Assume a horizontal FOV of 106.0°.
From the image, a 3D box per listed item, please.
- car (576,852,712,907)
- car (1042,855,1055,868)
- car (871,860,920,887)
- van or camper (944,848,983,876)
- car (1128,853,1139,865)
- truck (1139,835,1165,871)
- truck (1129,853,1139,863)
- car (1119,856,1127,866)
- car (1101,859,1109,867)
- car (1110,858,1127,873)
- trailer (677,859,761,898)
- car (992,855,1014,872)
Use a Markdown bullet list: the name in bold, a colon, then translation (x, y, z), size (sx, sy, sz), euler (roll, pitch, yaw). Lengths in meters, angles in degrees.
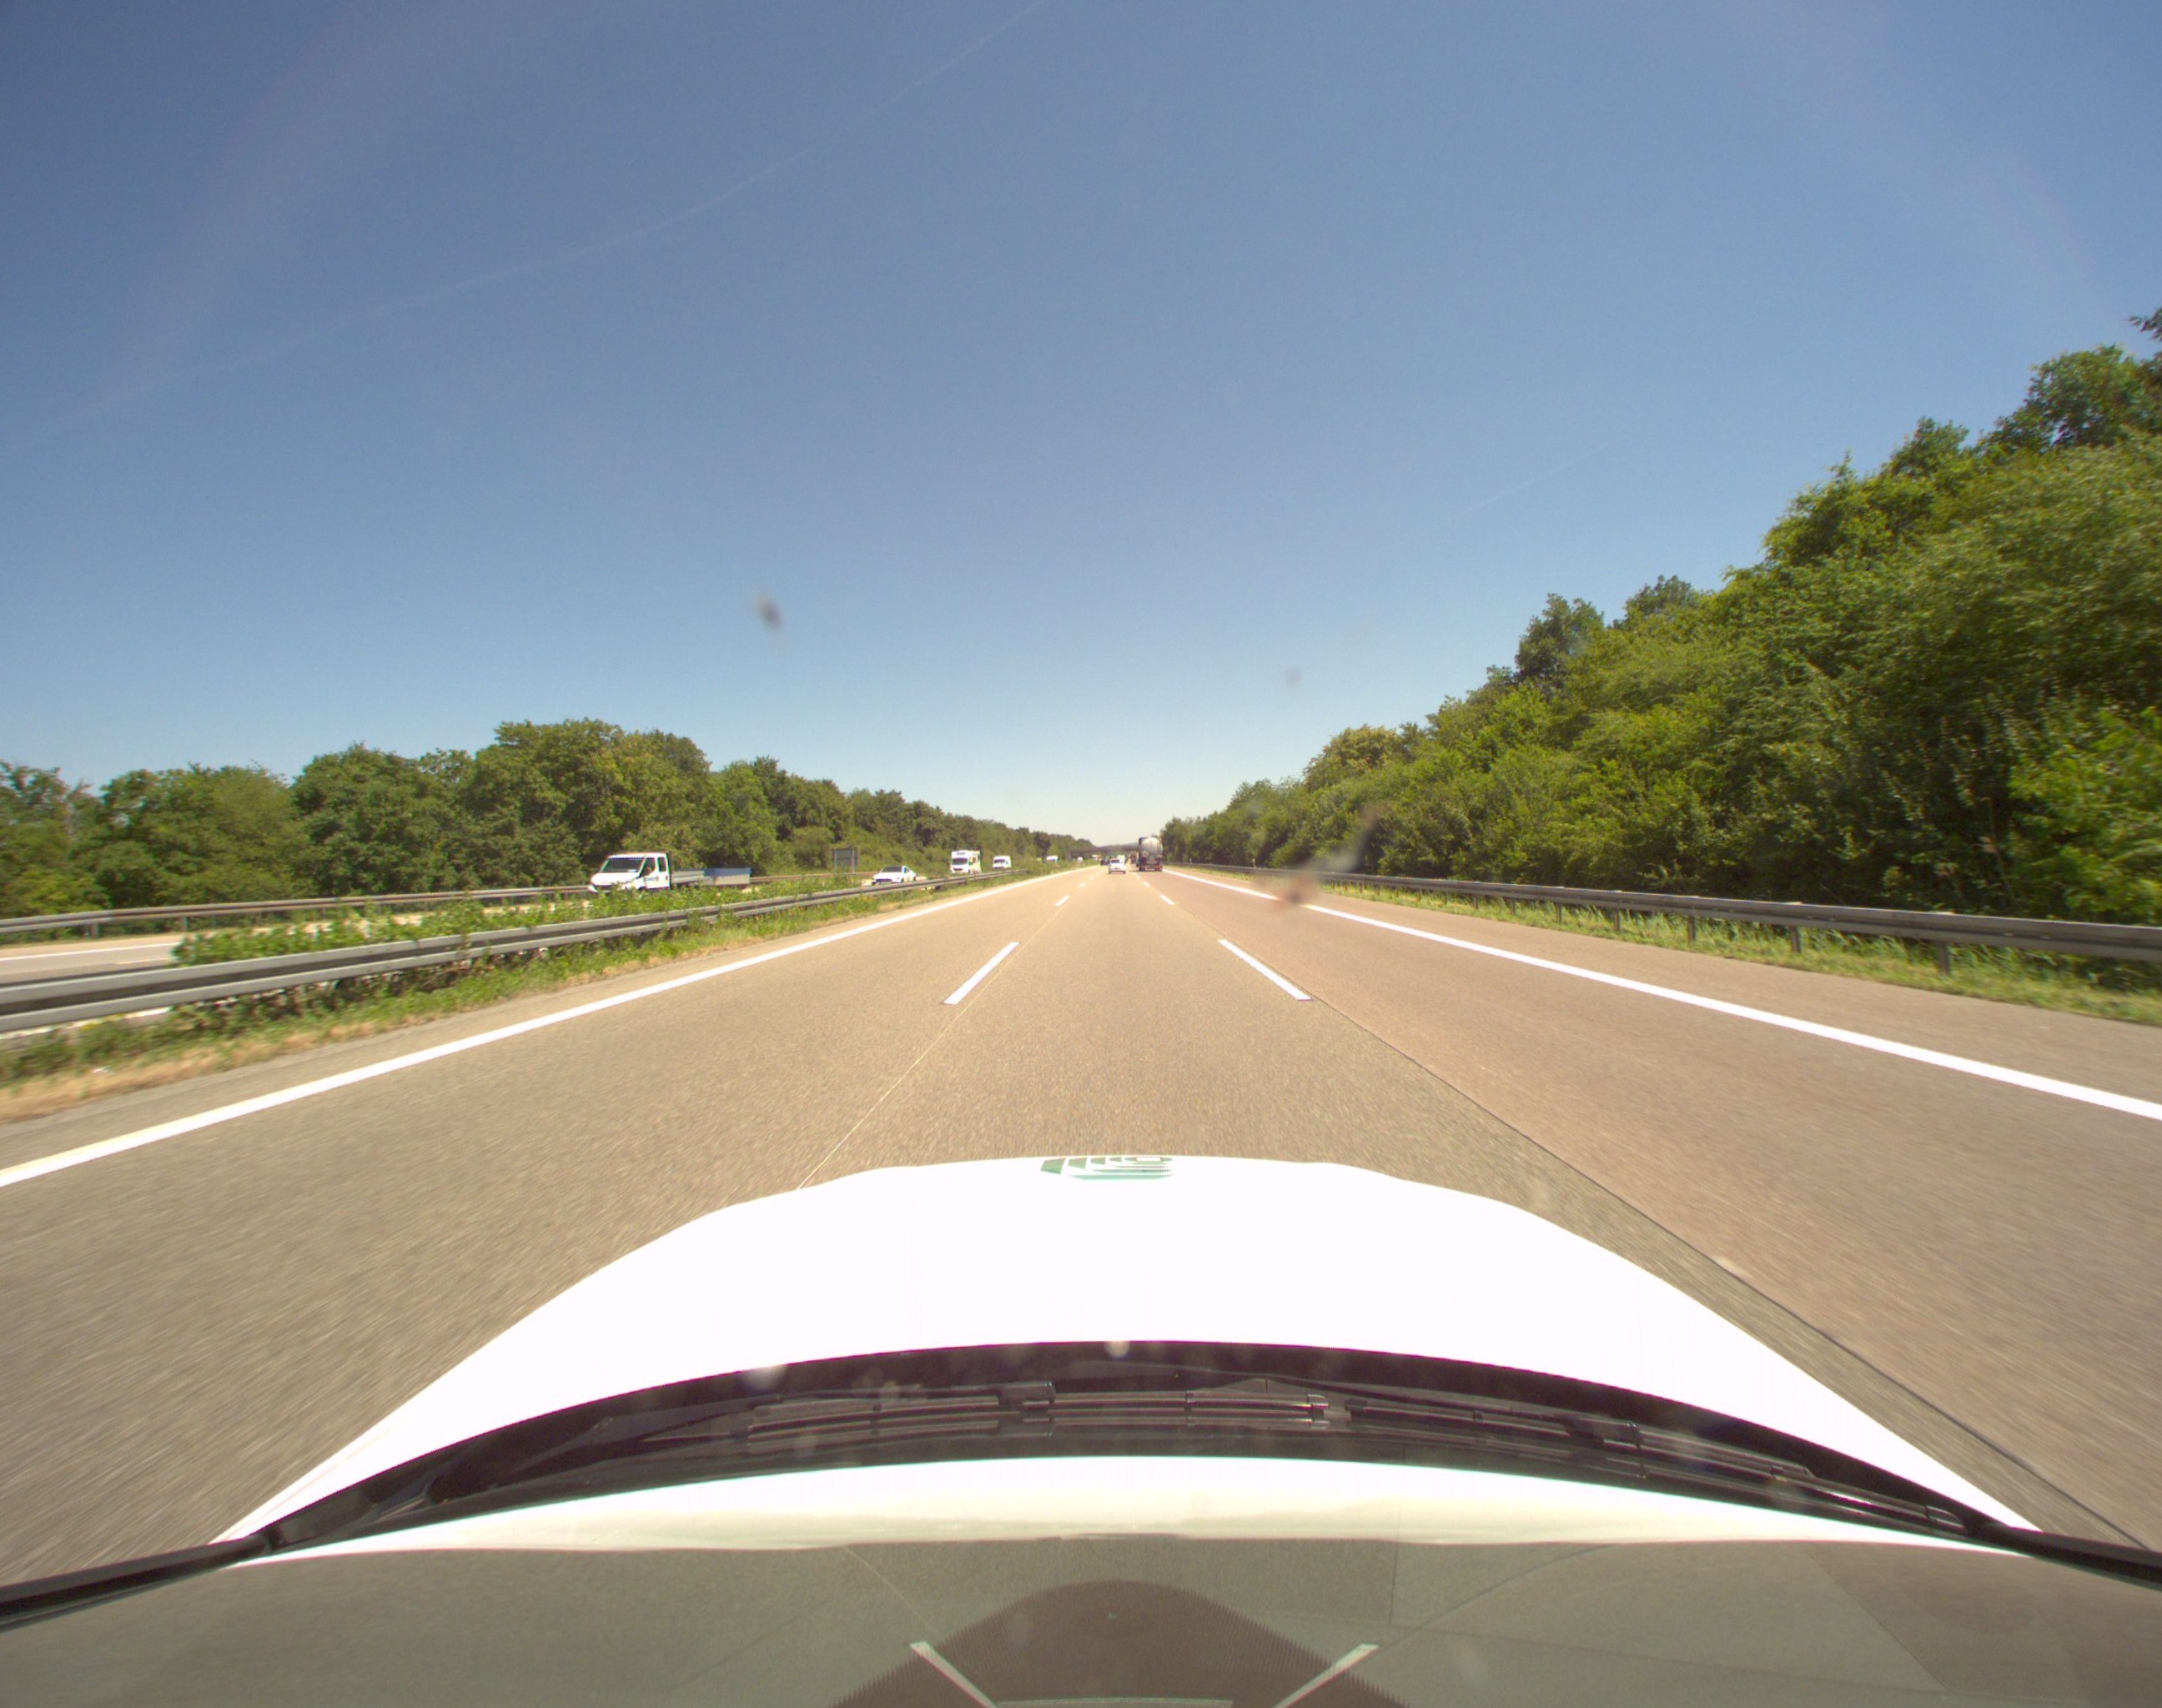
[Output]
- **car**: translation (-19.131, 1.051, 36.119), size (2.235, 2.172, 6.545), euler (-1, 0, 2)
- **car**: translation (-6.249, 1.507, 157.602), size (1.985, 2.400, 6.170), euler (-2, 0, 3)
- **car**: translation (-11.821, 1.224, 52.302), size (1.805, 1.596, 5.012), euler (-1, 0, 2)
- **van or camper**: translation (-12.851, 0.858, 89.906), size (2.502, 2.849, 8.035), euler (-1, 0, 4)
- **car**: translation (9.574, 0.949, 149.559), size (1.985, 2.225, 4.789), euler (-1, 0, 3)
- **truck**: translation (8.476, -0.125, 98.124), size (2.728, 4.052, 10.461), euler (-1, 0, 3)
- **truck**: translation (16.430, 1.261, 251.841), size (2.903, 3.240, 6.348), euler (-1, -1, 3)
- **car**: translation (10.575, 1.691, 205.218), size (1.985, 2.343, 4.391), euler (-1, 0, 4)
- **car**: translation (5.835, 2.221, 198.364), size (1.985, 1.725, 4.789), euler (-1, 0, 3)
- **car**: translation (3.789, 1.163, 82.563), size (1.621, 1.479, 4.002), euler (-1, 0, 2)
- **trailer**: translation (-18.840, 1.220, 42.691), size (2.020, 1.836, 4.992), euler (-1, 0, 2)
- **car**: translation (-11.523, 1.365, 120.390), size (2.205, 2.441, 6.425), euler (-2, 0, 3)
